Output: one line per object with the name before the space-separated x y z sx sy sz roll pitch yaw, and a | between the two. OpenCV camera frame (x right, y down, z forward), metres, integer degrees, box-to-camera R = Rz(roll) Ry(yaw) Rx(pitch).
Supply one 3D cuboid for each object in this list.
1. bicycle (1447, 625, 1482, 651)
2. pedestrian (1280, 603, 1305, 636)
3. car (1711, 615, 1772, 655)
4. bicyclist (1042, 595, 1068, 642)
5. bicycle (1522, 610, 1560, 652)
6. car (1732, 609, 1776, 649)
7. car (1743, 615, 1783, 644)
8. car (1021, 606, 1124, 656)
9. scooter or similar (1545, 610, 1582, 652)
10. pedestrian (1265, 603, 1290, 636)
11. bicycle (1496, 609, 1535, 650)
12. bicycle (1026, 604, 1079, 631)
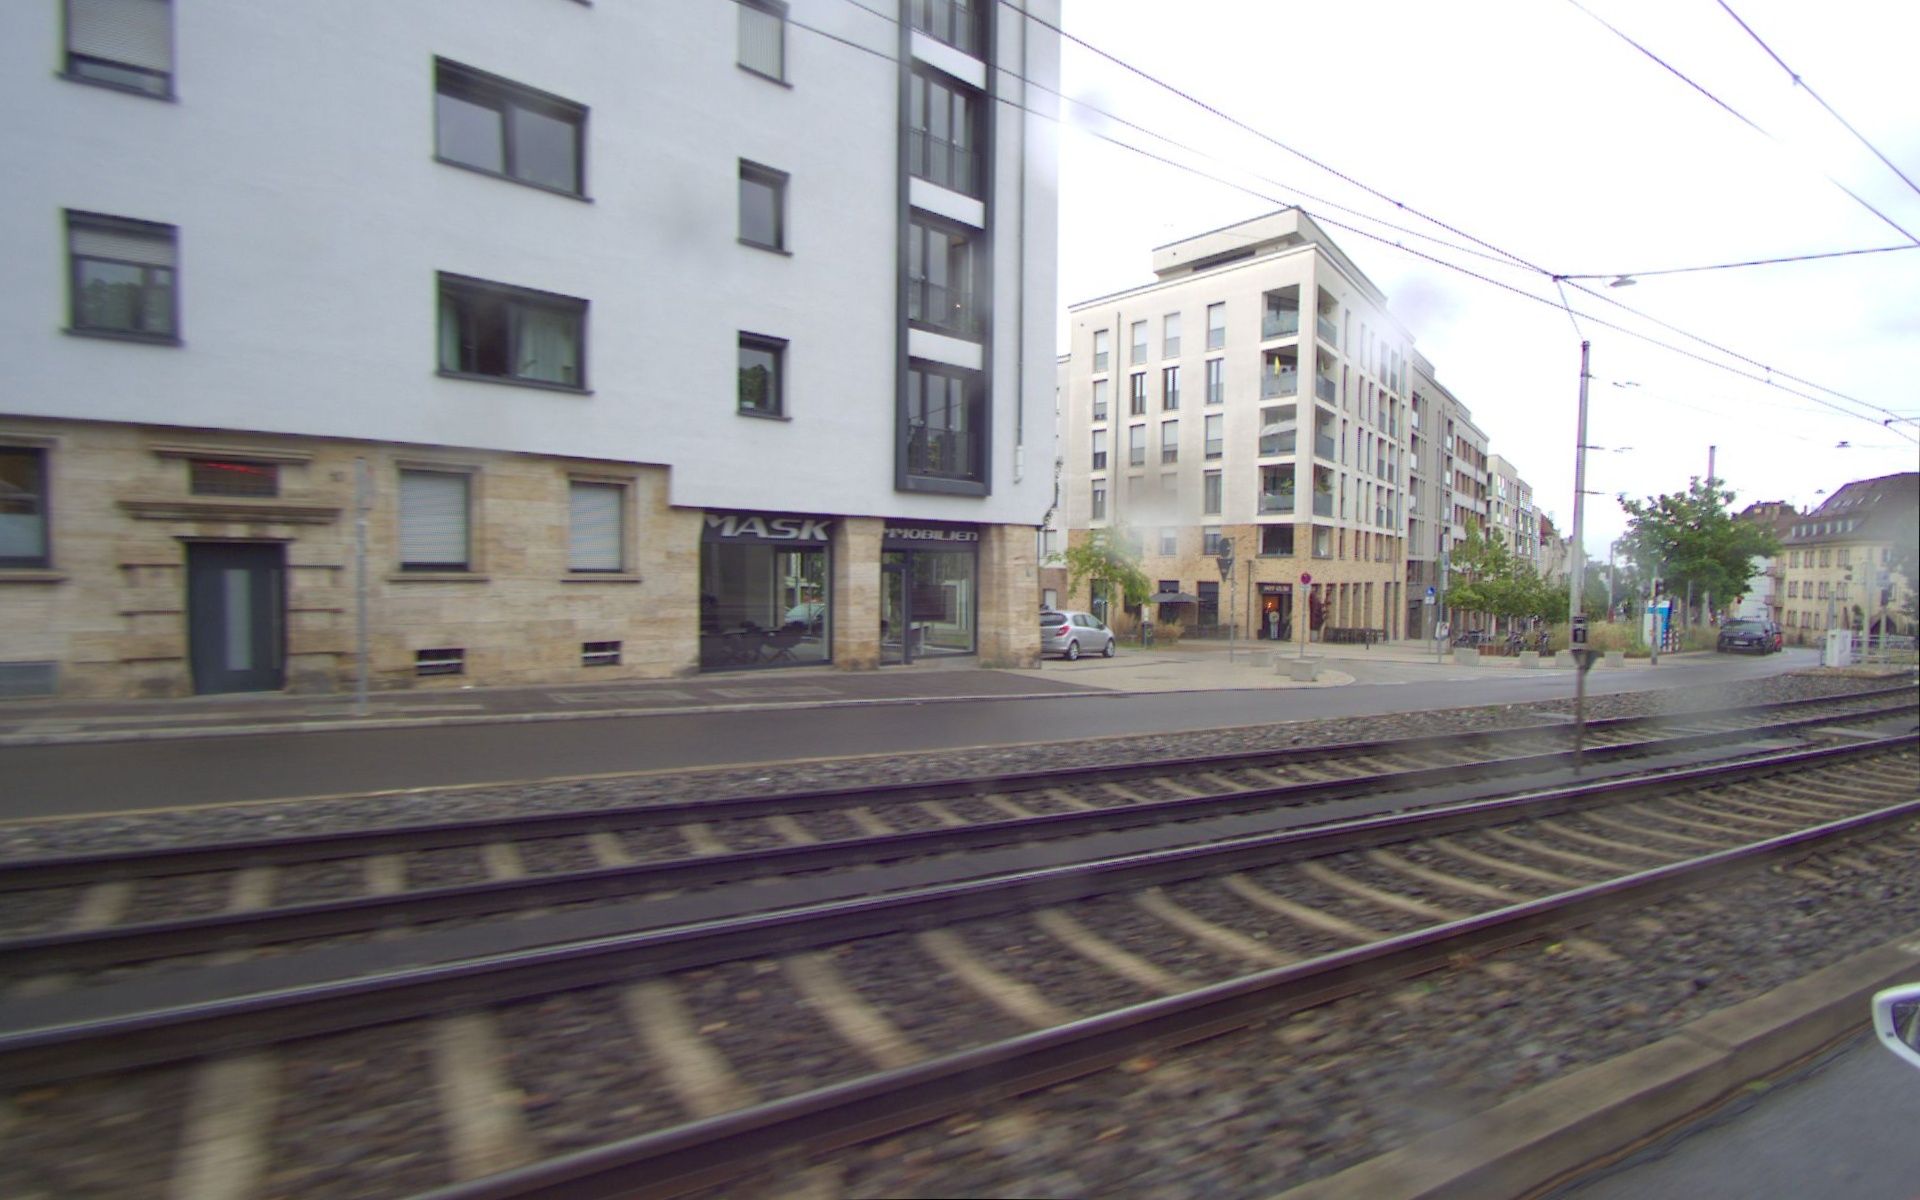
bicycle | 21.415 1.601 42.635 2.211 1.061 0.471 1 -1 -40
pedestrian | 17.092 1.026 51.677 0.890 1.674 0.837 1 -1 -21
car | 36.821 1.640 47.309 1.970 1.626 4.194 5 2 41
bicyclist | 3.791 0.740 40.010 0.773 1.828 0.901 1 0 21
bicycle | 23.365 1.250 40.372 2.344 1.617 0.669 2 0 -43
car | 40.566 1.469 51.289 1.563 1.884 4.312 4 1 40
car | 46.892 1.717 58.642 1.454 1.551 2.913 4 1 44
car | 3.578 0.946 31.487 1.574 1.439 3.905 1 -1 34
scooter or similar | 23.918 1.245 39.795 2.344 1.617 0.594 2 0 -43
pedestrian | 16.201 0.995 51.249 0.891 1.673 0.837 1 -2 -23
bicycle | 22.733 1.218 41.097 2.344 1.617 0.669 2 0 -43
bicycle | 3.679 0.684 40.023 1.973 1.042 0.735 1 0 22
